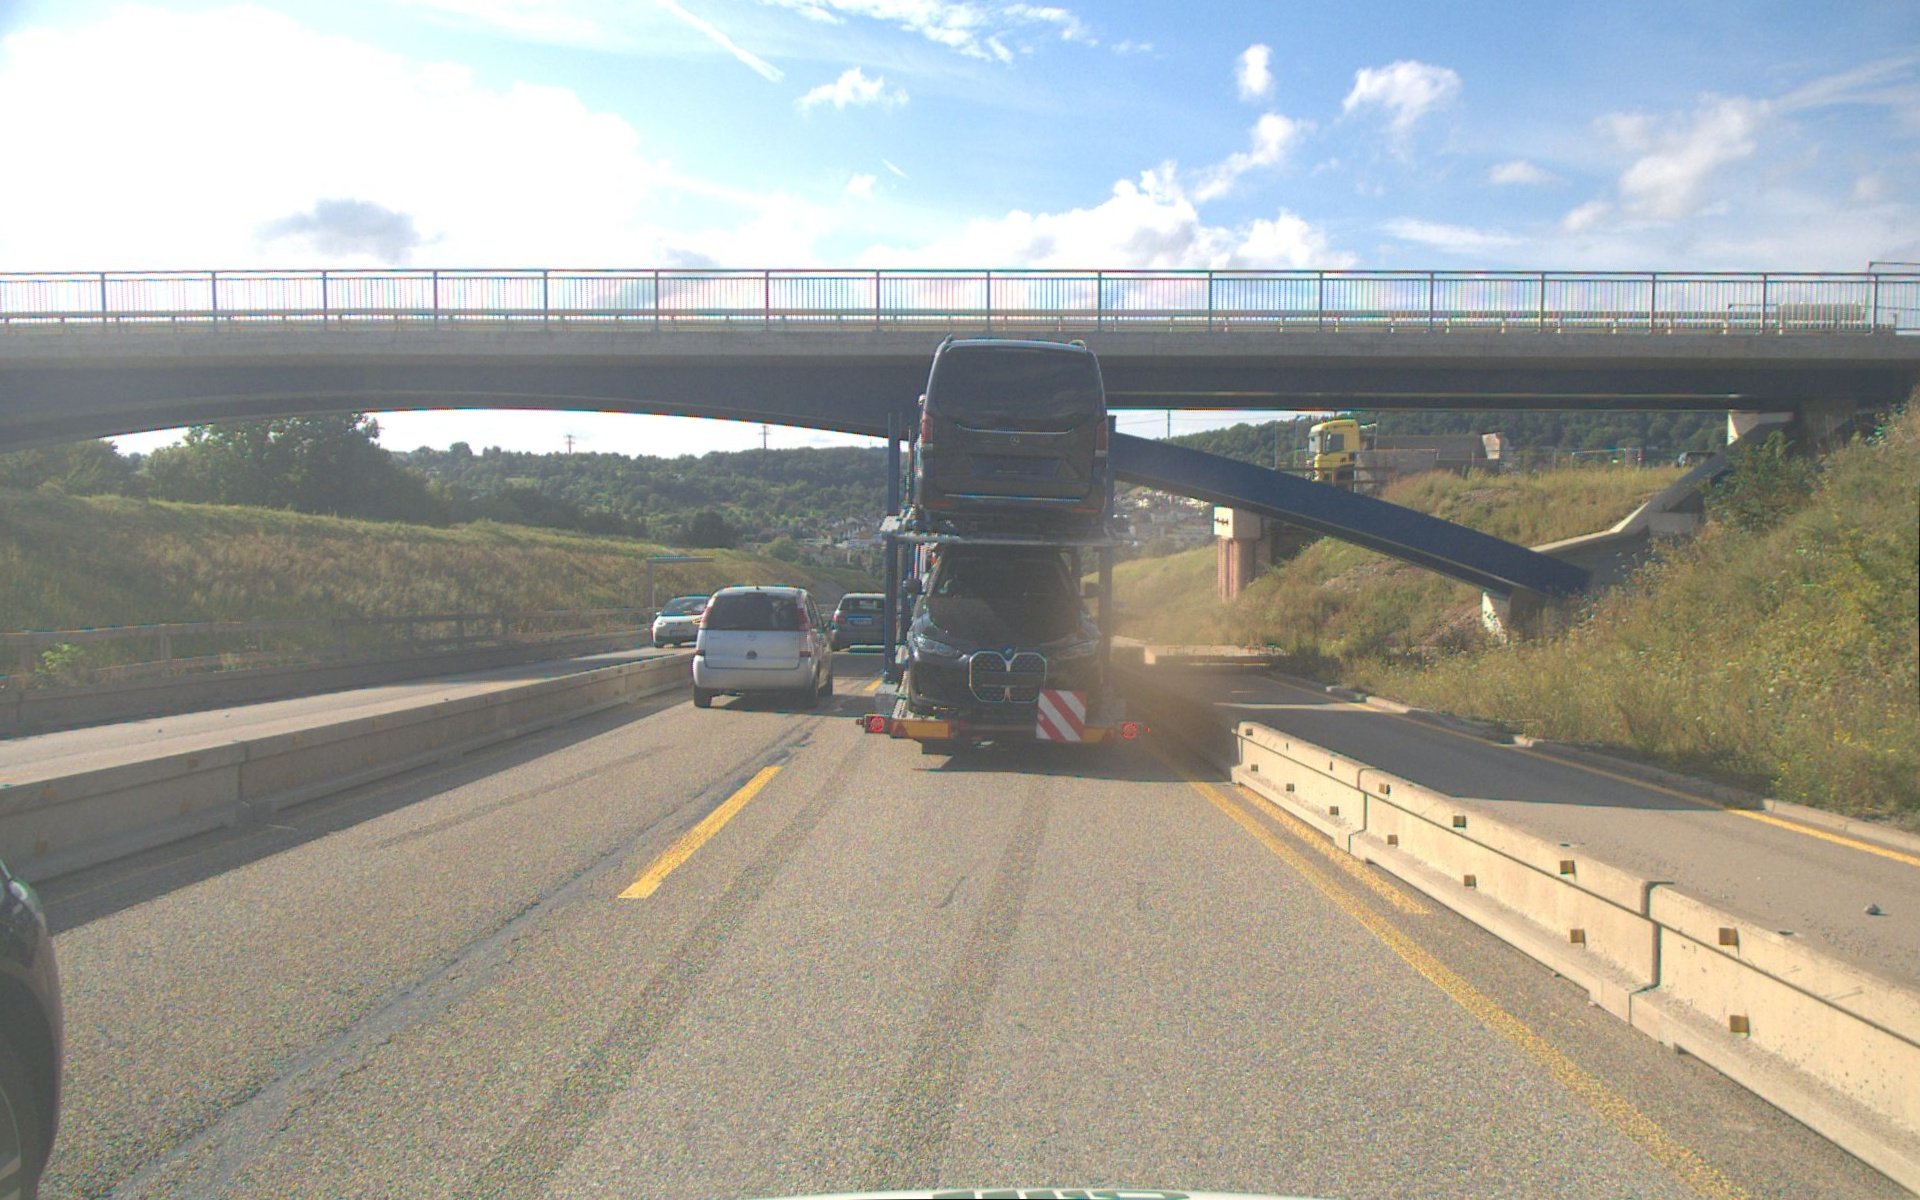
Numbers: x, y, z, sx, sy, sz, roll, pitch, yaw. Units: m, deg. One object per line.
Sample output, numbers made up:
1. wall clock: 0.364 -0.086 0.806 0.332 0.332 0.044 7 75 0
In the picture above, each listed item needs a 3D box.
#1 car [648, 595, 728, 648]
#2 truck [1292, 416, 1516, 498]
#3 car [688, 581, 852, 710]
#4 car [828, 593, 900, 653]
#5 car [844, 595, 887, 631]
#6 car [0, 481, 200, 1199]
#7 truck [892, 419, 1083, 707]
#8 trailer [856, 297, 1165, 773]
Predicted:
1. car: -8.641 0.647 52.868 1.786 1.518 4.218 -2 0 0
2. truck: 19.339 -6.231 72.431 9.072 3.284 2.960 0 0 0
3. car: -2.585 0.562 23.511 1.759 1.624 4.743 -1 0 0
4. car: -2.609 0.597 45.800 1.759 1.557 4.295 0 0 0
5. car: -4.539 0.599 80.296 1.786 1.590 4.218 -2 0 0
6. car: -2.669 0.622 1.329 1.953 1.653 4.749 0 0 -1
7. truck: 0.416 -0.514 25.997 2.623 3.990 6.027 0 0 1
8. trailer: 0.423 -0.559 20.013 2.653 4.099 11.418 0 0 0
